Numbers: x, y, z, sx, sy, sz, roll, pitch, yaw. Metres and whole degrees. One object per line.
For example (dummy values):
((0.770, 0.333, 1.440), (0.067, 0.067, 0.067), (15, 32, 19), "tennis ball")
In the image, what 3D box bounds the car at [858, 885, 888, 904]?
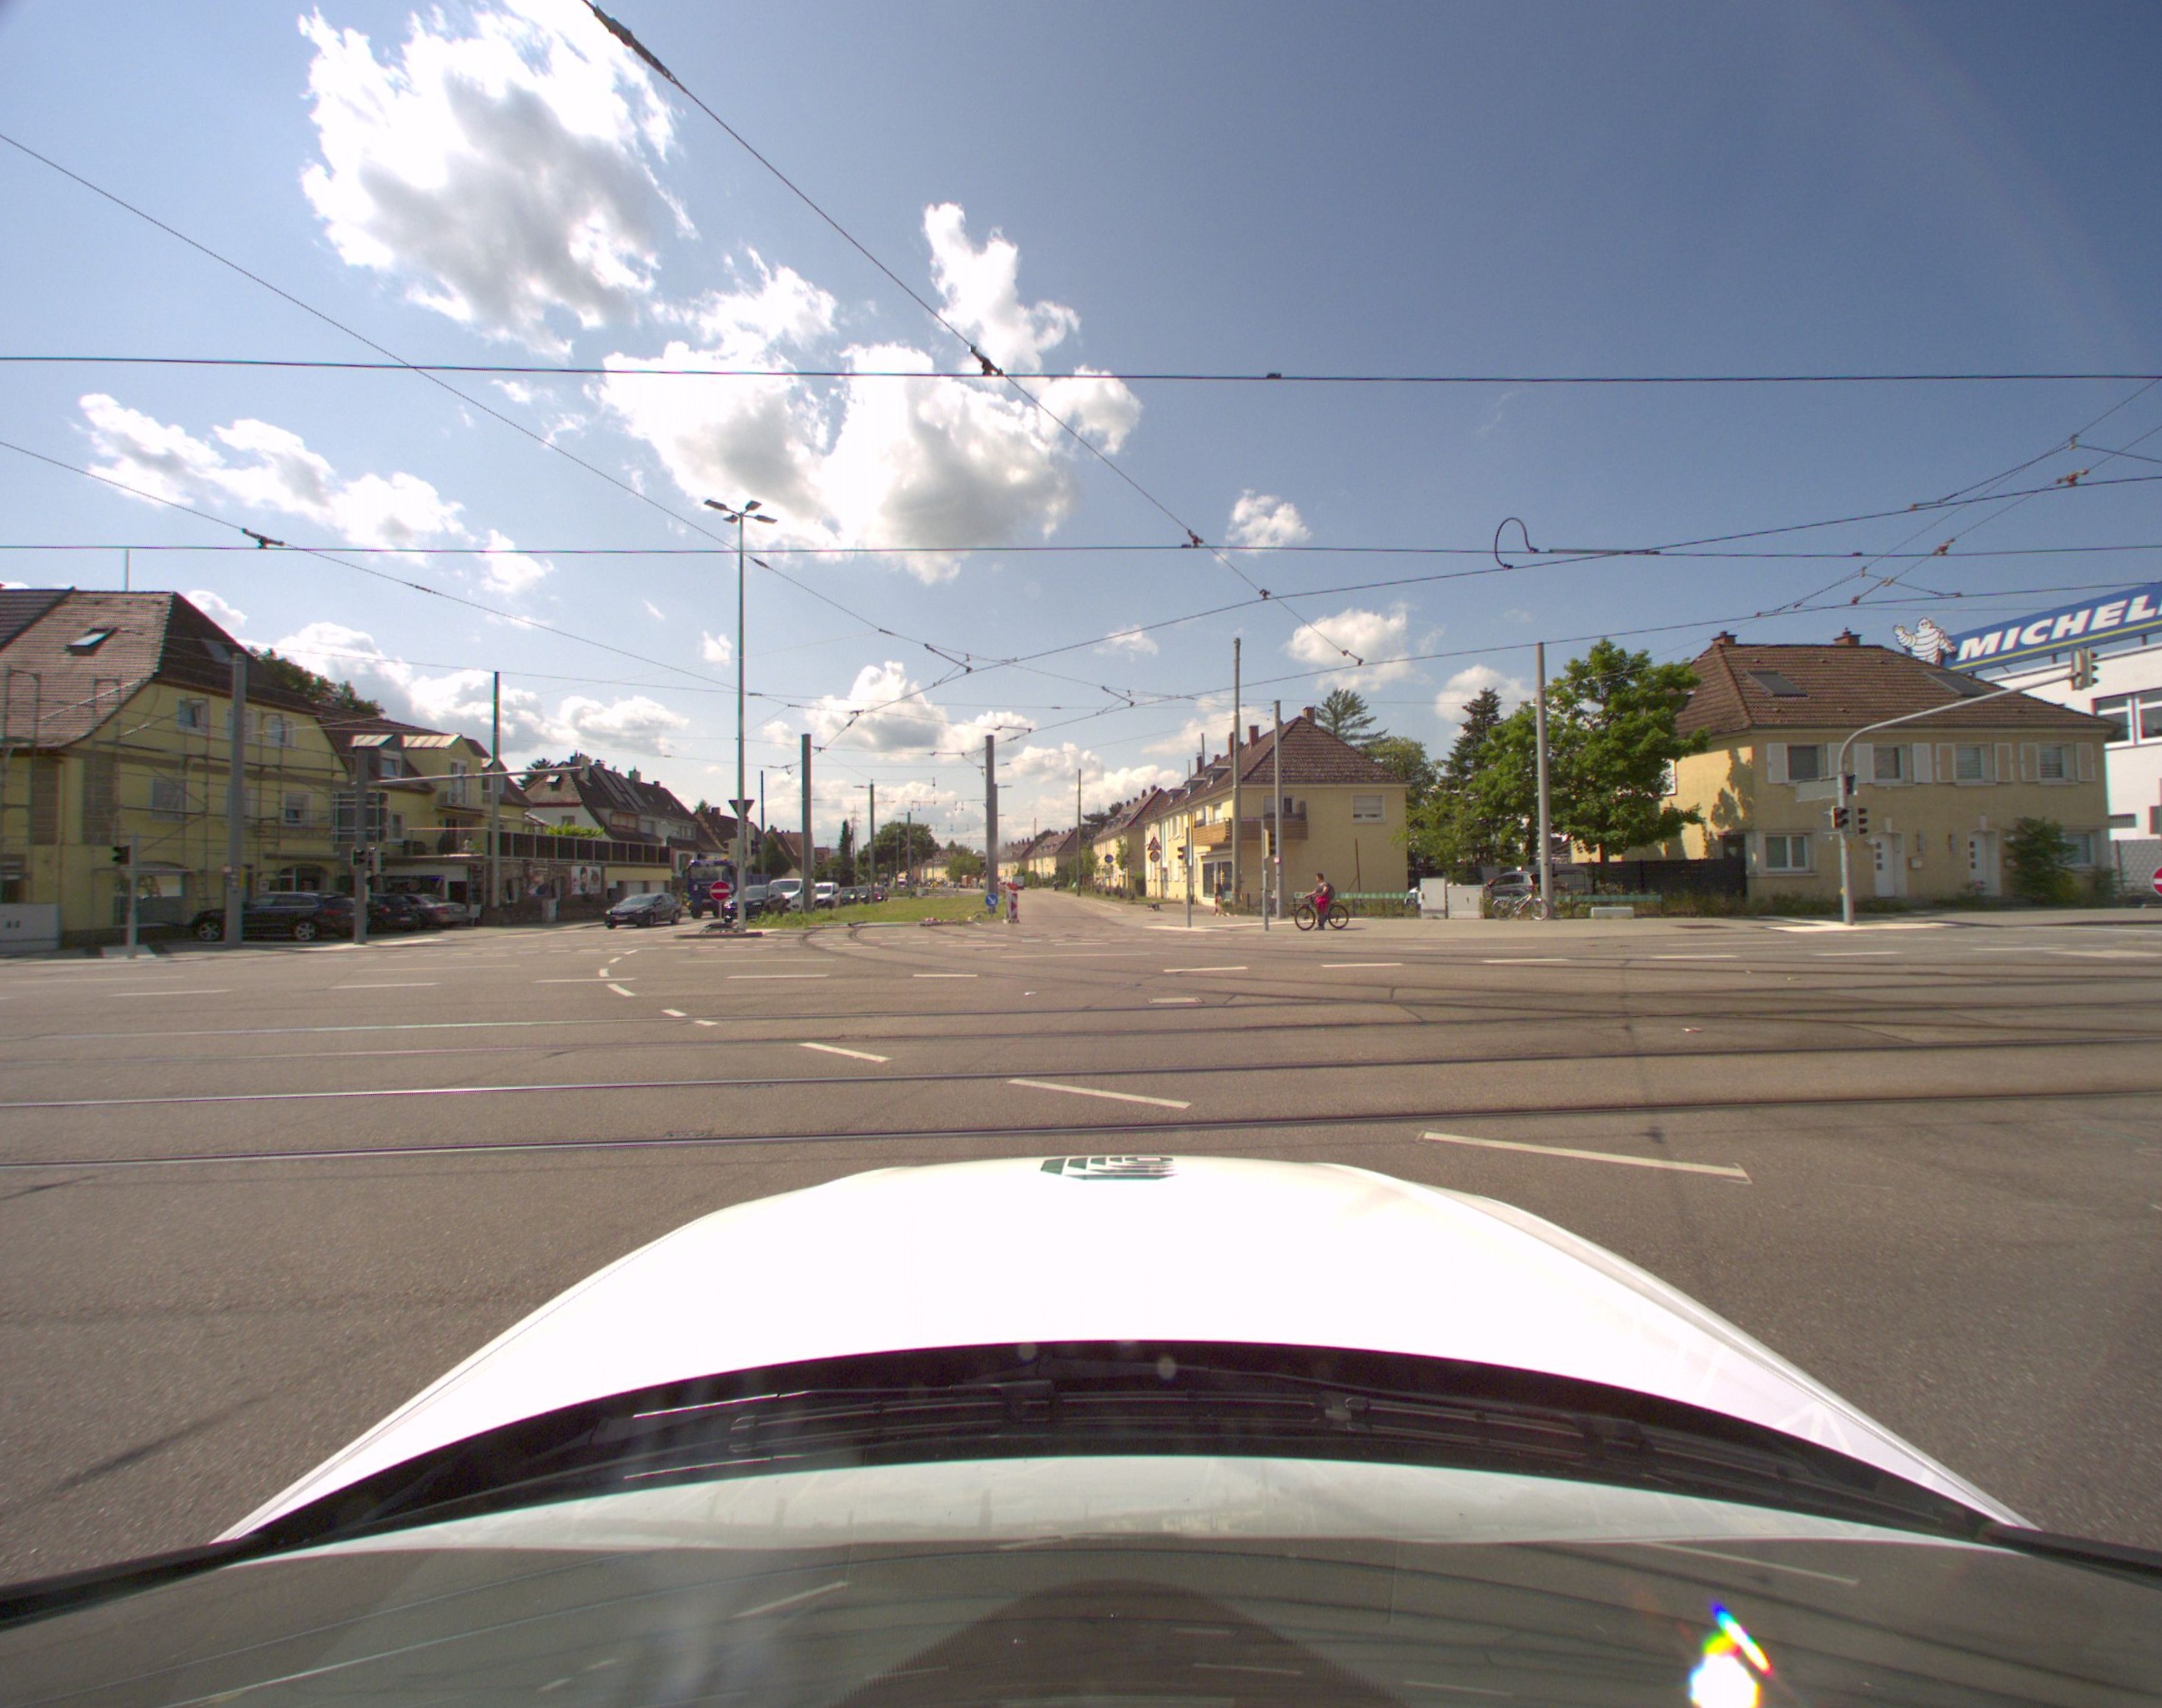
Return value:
((-18.385, 3.543, 72.130), (1.841, 1.494, 4.845), (-1, -2, -6), "car")

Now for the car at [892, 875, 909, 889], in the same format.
((-29.615, 4.583, 133.277), (2.412, 2.338, 4.851), (-1, -2, -17), "car")

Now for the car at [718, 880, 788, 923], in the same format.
((-14.933, 2.117, 37.325), (1.784, 1.721, 4.432), (-1, -1, -6), "car")

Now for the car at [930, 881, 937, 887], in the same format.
((-41.865, 8.511, 231.137), (1.264, 1.426, 2.642), (0, -2, -26), "car")

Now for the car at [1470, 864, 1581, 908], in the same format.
((17.728, 1.315, 32.700), (1.821, 1.621, 3.987), (-1, -3, -9), "car")

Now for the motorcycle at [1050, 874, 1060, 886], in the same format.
((-3.538, 3.543, 109.911), (1.065, 1.635, 2.078), (-1, -2, -7), "motorcycle")

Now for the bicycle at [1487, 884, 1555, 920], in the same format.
((14.105, 1.534, 26.112), (1.785, 1.105, 0.707), (-2, -2, 39), "bicycle")

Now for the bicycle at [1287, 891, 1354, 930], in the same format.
((7.419, 1.738, 25.218), (2.038, 1.102, 0.709), (0, -2, -27), "bicycle")

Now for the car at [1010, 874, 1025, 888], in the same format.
((-10.528, 4.494, 134.988), (2.065, 2.149, 4.862), (-1, -2, -9), "car")

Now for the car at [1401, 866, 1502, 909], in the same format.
((14.928, 1.374, 33.073), (1.821, 1.621, 3.987), (-1, -3, -9), "car")

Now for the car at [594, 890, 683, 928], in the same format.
((-19.365, 2.366, 35.855), (1.824, 1.487, 4.326), (-1, -2, -4), "car")

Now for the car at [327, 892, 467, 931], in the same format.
((-27.465, 2.293, 32.817), (4.131, 1.493, 1.431), (1, -2, -8), "car")

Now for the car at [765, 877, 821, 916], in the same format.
((-15.390, 2.224, 43.742), (1.813, 1.922, 4.735), (-1, -2, -7), "car")

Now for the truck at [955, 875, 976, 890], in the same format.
((-27.774, 6.886, 195.254), (2.651, 3.494, 9.365), (-1, -2, -23), "truck")

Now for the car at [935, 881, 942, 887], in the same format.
((-39.918, 8.352, 227.524), (1.263, 1.426, 2.643), (-1, -2, -24), "car")

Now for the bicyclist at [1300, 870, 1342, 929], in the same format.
((7.432, 1.410, 25.239), (0.962, 1.775, 0.713), (0, -2, -25), "bicyclist")

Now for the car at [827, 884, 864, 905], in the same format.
((-16.822, 2.871, 58.327), (1.913, 1.419, 3.989), (-1, -2, -7), "car")

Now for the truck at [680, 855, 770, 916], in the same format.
((-20.523, 1.795, 47.476), (2.766, 3.189, 7.562), (-1, -2, -7), "truck")

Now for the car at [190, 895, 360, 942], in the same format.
((-27.048, 2.157, 27.429), (4.131, 1.493, 1.176), (1, -2, -8), "car")

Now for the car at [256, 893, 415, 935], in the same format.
((-27.465, 2.206, 30.106), (4.131, 1.493, 1.503), (1, -2, -8), "car")

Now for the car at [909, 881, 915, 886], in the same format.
((-51.781, 9.066, 249.600), (1.172, 1.426, 2.641), (0, -2, -27), "car")

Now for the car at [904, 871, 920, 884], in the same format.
((-30.185, 4.197, 145.465), (2.412, 2.370, 4.851), (-1, -1, -17), "car")

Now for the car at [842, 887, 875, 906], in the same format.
((-17.708, 3.365, 65.105), (1.842, 1.413, 4.903), (-1, -2, -7), "car")

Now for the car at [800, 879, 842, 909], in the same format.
((-16.424, 2.500, 51.611), (1.731, 1.782, 4.393), (-1, -2, -7), "car")

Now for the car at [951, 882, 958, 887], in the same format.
((-32.240, 7.784, 207.171), (1.263, 1.426, 2.644), (-1, -2, -23), "car")

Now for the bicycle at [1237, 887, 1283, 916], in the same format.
((7.275, 1.917, 33.228), (0.596, 1.096, 2.258), (0, -2, -25), "bicycle")
